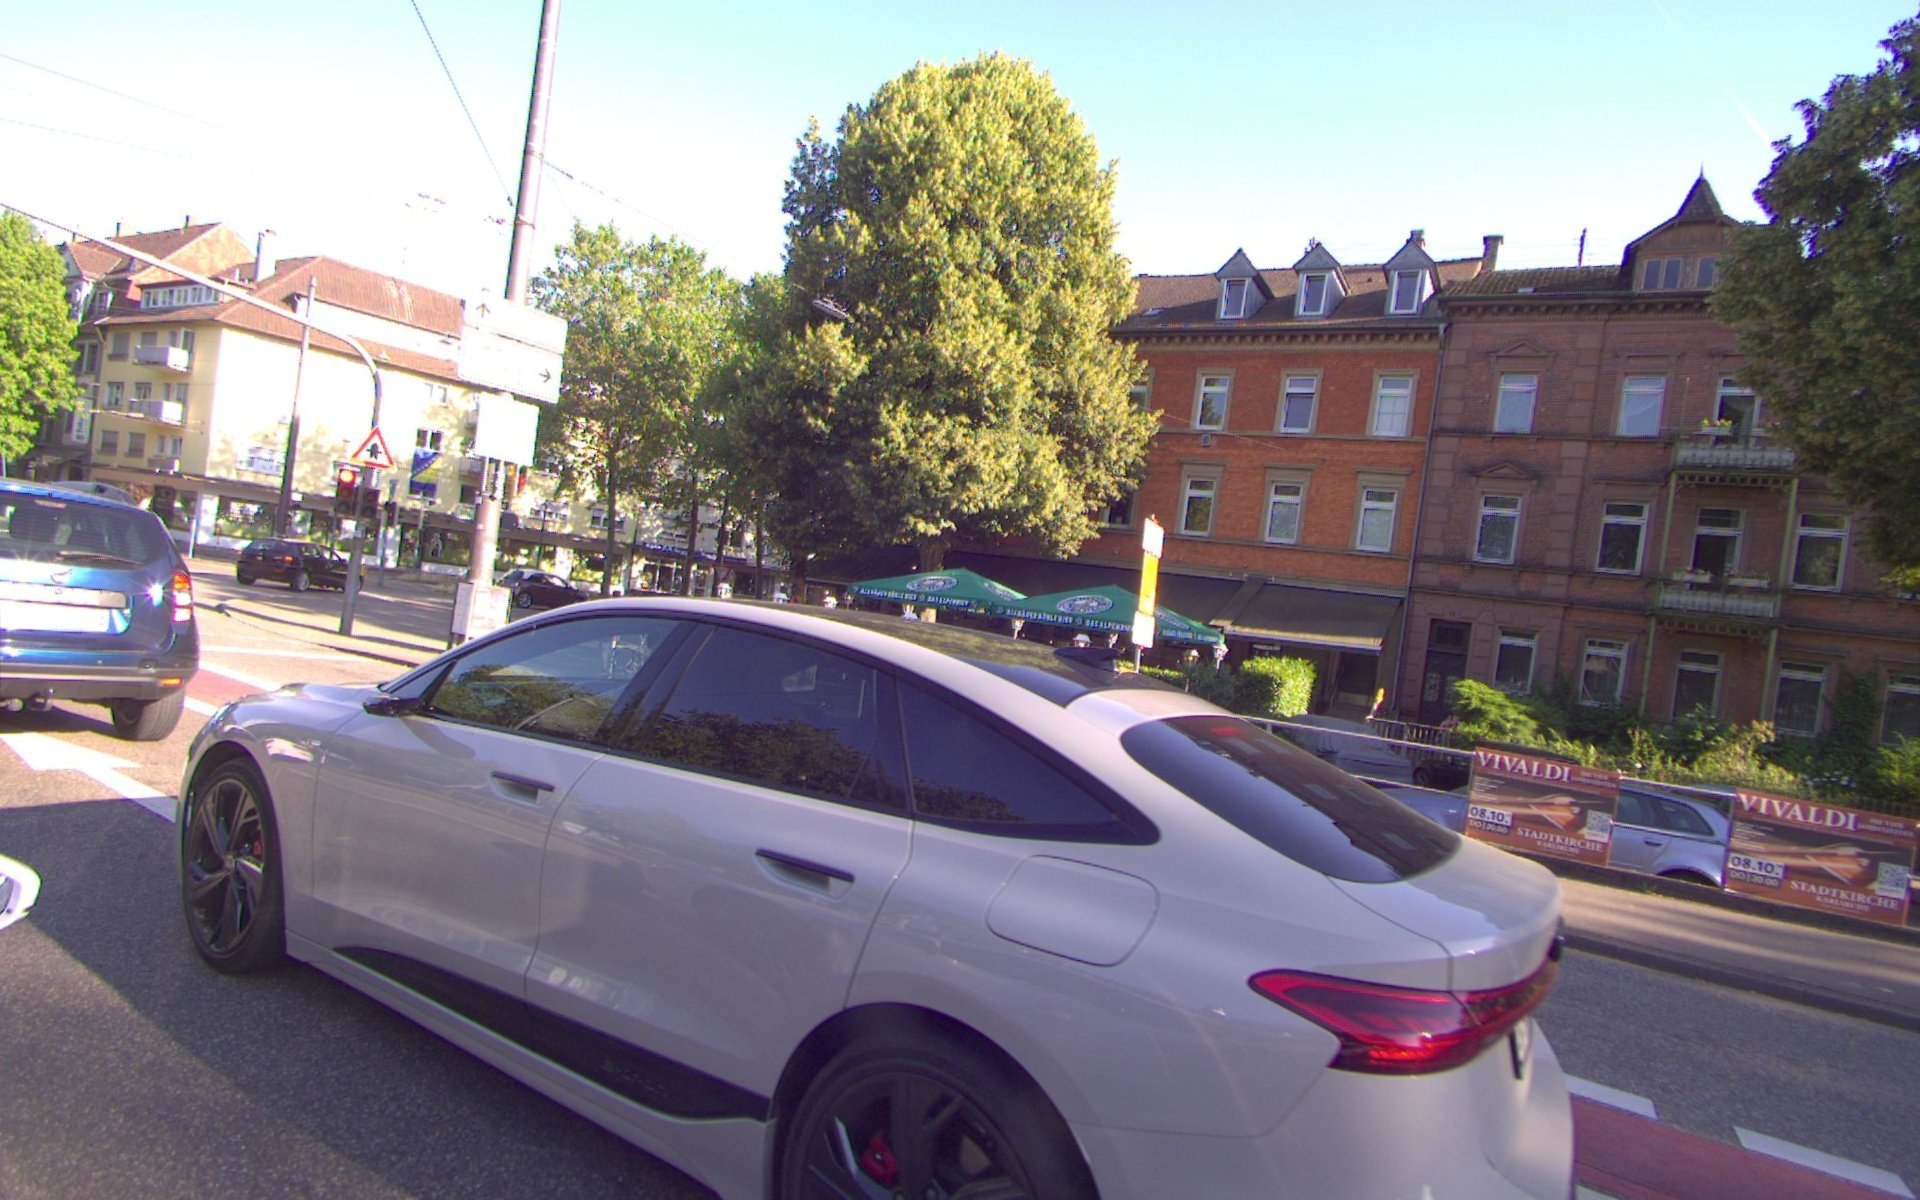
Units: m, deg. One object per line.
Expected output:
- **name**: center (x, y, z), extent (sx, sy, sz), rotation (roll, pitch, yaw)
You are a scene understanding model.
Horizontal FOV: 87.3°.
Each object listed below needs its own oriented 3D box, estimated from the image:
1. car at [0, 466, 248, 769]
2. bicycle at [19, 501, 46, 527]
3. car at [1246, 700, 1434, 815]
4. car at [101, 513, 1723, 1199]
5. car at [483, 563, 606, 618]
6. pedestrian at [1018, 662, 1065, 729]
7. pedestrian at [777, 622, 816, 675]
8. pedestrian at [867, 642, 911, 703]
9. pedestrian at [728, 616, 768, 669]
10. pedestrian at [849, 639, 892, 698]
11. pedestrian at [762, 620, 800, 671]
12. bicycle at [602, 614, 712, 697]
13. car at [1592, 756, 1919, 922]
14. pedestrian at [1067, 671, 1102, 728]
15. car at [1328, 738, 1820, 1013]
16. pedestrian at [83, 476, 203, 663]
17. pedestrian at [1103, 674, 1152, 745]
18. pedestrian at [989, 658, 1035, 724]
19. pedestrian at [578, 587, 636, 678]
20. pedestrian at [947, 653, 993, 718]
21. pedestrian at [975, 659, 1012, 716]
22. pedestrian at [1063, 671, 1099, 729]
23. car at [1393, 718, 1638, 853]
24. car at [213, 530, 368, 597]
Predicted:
- **car**: center (-6.808, -0.076, 6.719), extent (3.978, 1.657, 1.803), rotation (7, -1, 31)
- **bicycle**: center (-46.470, -4.309, 50.403), extent (1.772, 1.121, 0.609), rotation (7, 0, 37)
- **car**: center (7.241, 2.973, 19.668), extent (1.747, 1.365, 3.995), rotation (7, 0, -5)
- **car**: center (-0.648, 0.741, 3.357), extent (4.774, 1.490, 1.932), rotation (7, -1, 32)
- **car**: center (-16.126, -0.343, 39.202), extent (1.771, 1.528, 3.992), rotation (8, -1, 34)
- **pedestrian**: center (1.778, 2.097, 22.017), extent (0.621, 1.352, 0.650), rotation (7, -3, 32)
- **pedestrian**: center (-4.586, 1.356, 28.157), extent (0.621, 1.352, 0.650), rotation (7, -3, 32)
- **pedestrian**: center (-1.707, 1.742, 24.172), extent (0.621, 1.352, 0.650), rotation (7, -3, 32)
- **pedestrian**: center (-5.868, 1.178, 27.874), extent (0.621, 1.352, 0.650), rotation (7, -3, 32)
- **pedestrian**: center (-2.226, 1.711, 25.062), extent (0.621, 1.352, 0.650), rotation (7, -3, 32)
- **pedestrian**: center (-5.148, 1.319, 28.960), extent (0.621, 1.352, 0.650), rotation (7, -3, 32)
- **bicycle**: center (-4.778, 0.859, 15.820), extent (1.770, 1.087, 0.499), rotation (6, -2, 32)
- **car**: center (12.598, 3.671, 16.170), extent (1.929, 1.424, 4.246), rotation (7, 0, -3)
- **pedestrian**: center (3.019, 2.403, 24.378), extent (0.604, 1.275, 0.633), rotation (8, -2, 14)
- **car**: center (6.677, 2.875, 11.431), extent (4.285, 1.920, 1.798), rotation (6, -2, 30)
- **pedestrian**: center (-8.811, -0.319, 10.858), extent (0.666, 1.894, 0.658), rotation (7, 0, 32)
- **pedestrian**: center (3.454, 2.258, 20.748), extent (0.621, 1.352, 0.650), rotation (7, -3, 32)
- **pedestrian**: center (1.163, 2.043, 22.573), extent (0.621, 1.352, 0.650), rotation (7, -3, 32)
- **pedestrian**: center (-6.622, 0.603, 18.879), extent (0.646, 1.580, 0.625), rotation (10, -3, -39)
- **pedestrian**: center (0.226, 1.932, 22.794), extent (0.643, 1.352, 0.628), rotation (10, -3, -28)
- **pedestrian**: center (0.811, 2.116, 24.343), extent (0.604, 1.275, 0.633), rotation (8, -2, 14)
- **pedestrian**: center (2.849, 2.351, 23.705), extent (0.604, 1.275, 0.633), rotation (8, -2, 14)
- **car**: center (9.944, 3.266, 18.422), extent (1.769, 1.498, 3.994), rotation (7, 0, -7)
- **car**: center (-19.416, -0.993, 29.395), extent (1.774, 1.455, 4.045), rotation (9, -1, -2)
